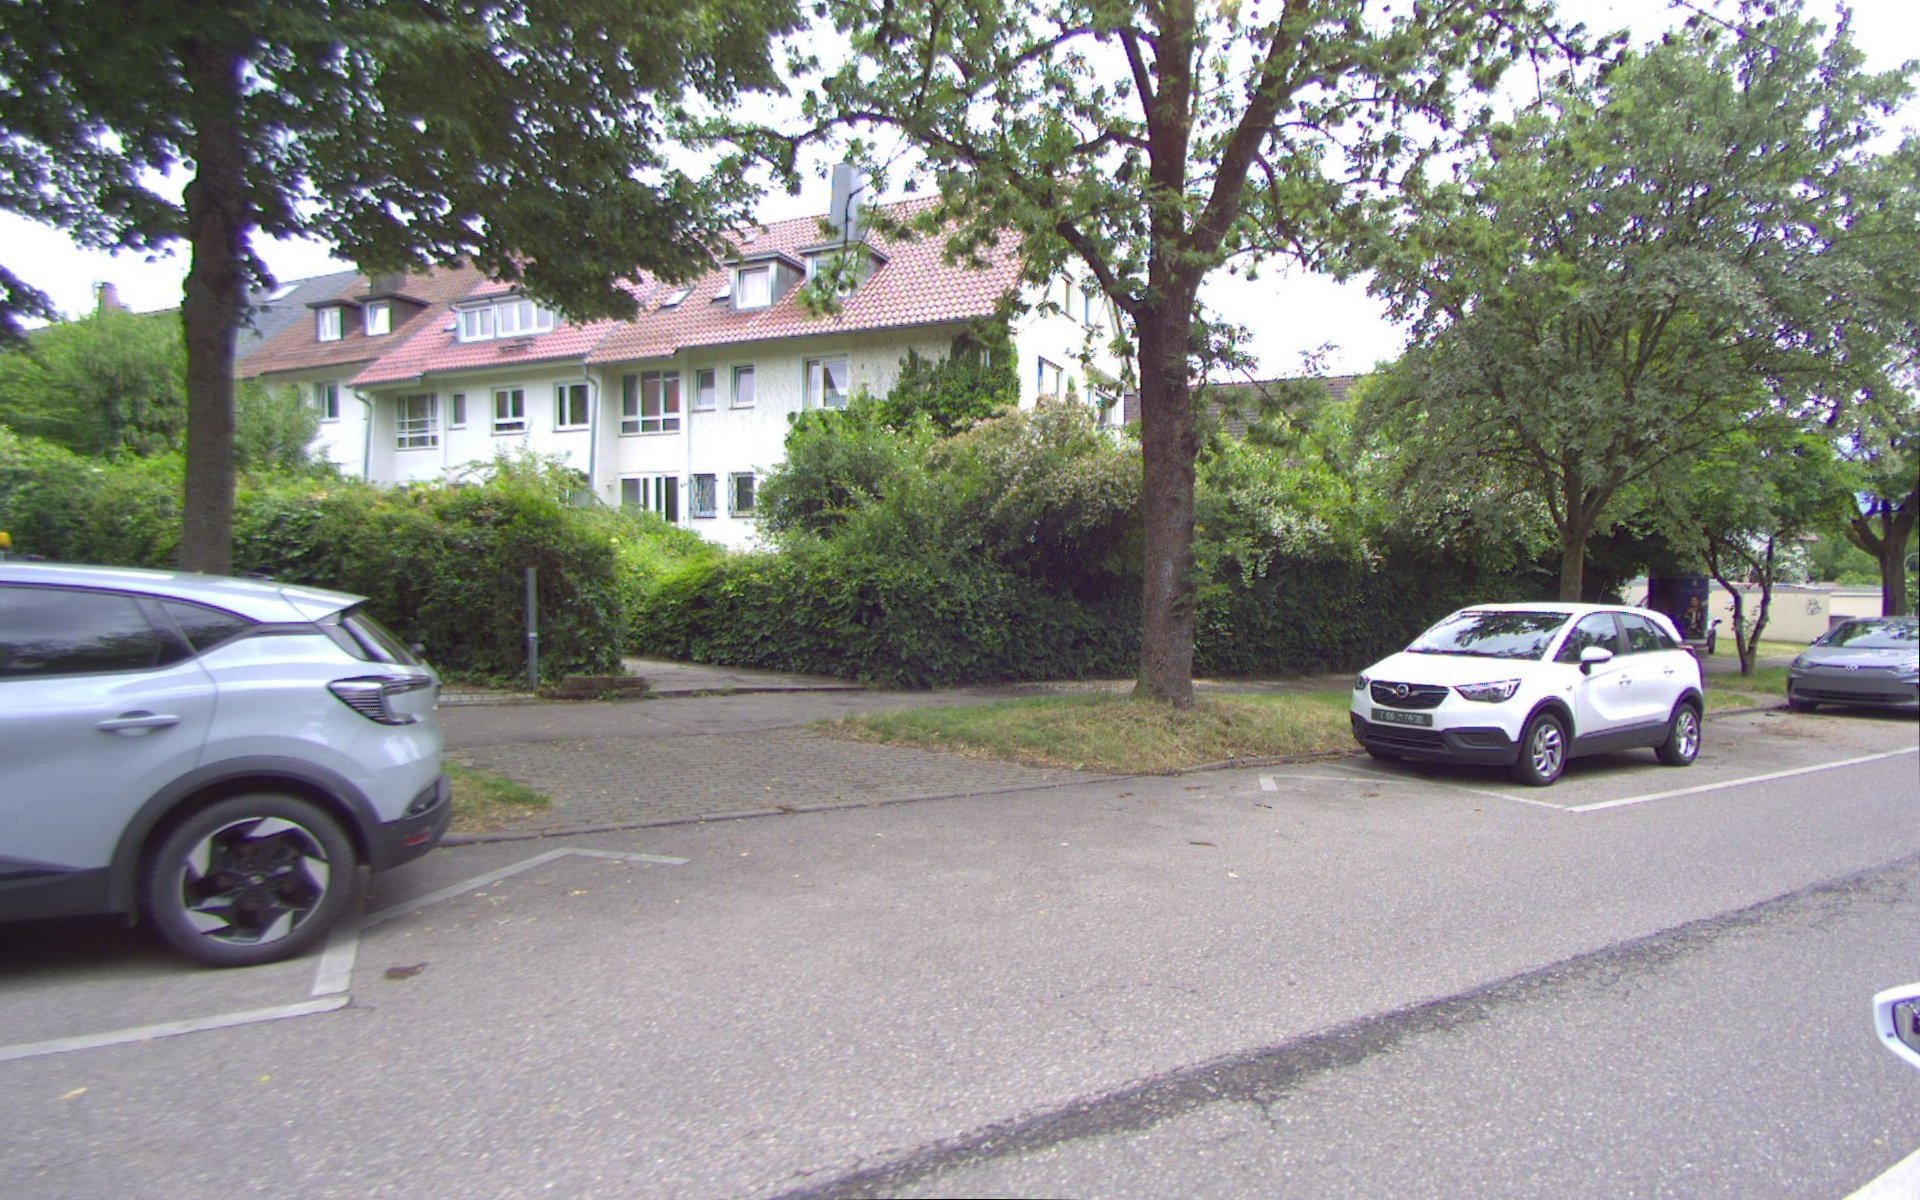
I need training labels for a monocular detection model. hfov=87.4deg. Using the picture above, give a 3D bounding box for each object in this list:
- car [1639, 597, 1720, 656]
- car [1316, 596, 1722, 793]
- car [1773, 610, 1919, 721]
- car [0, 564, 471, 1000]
[{"bbox_3d":[21.441,0.729,30.021,1.749,1.497,3.977,6,3,35],"label":"car"},{"bbox_3d":[5.599,0.793,9.945,4.094,1.600,1.726,1,0,-31],"label":"car"},{"bbox_3d":[15.142,0.984,16.331,4.183,1.558,1.854,1,0,-34],"label":"car"},{"bbox_3d":[-4.321,0.642,4.091,4.137,1.558,1.728,1,0,-28],"label":"car"}]
